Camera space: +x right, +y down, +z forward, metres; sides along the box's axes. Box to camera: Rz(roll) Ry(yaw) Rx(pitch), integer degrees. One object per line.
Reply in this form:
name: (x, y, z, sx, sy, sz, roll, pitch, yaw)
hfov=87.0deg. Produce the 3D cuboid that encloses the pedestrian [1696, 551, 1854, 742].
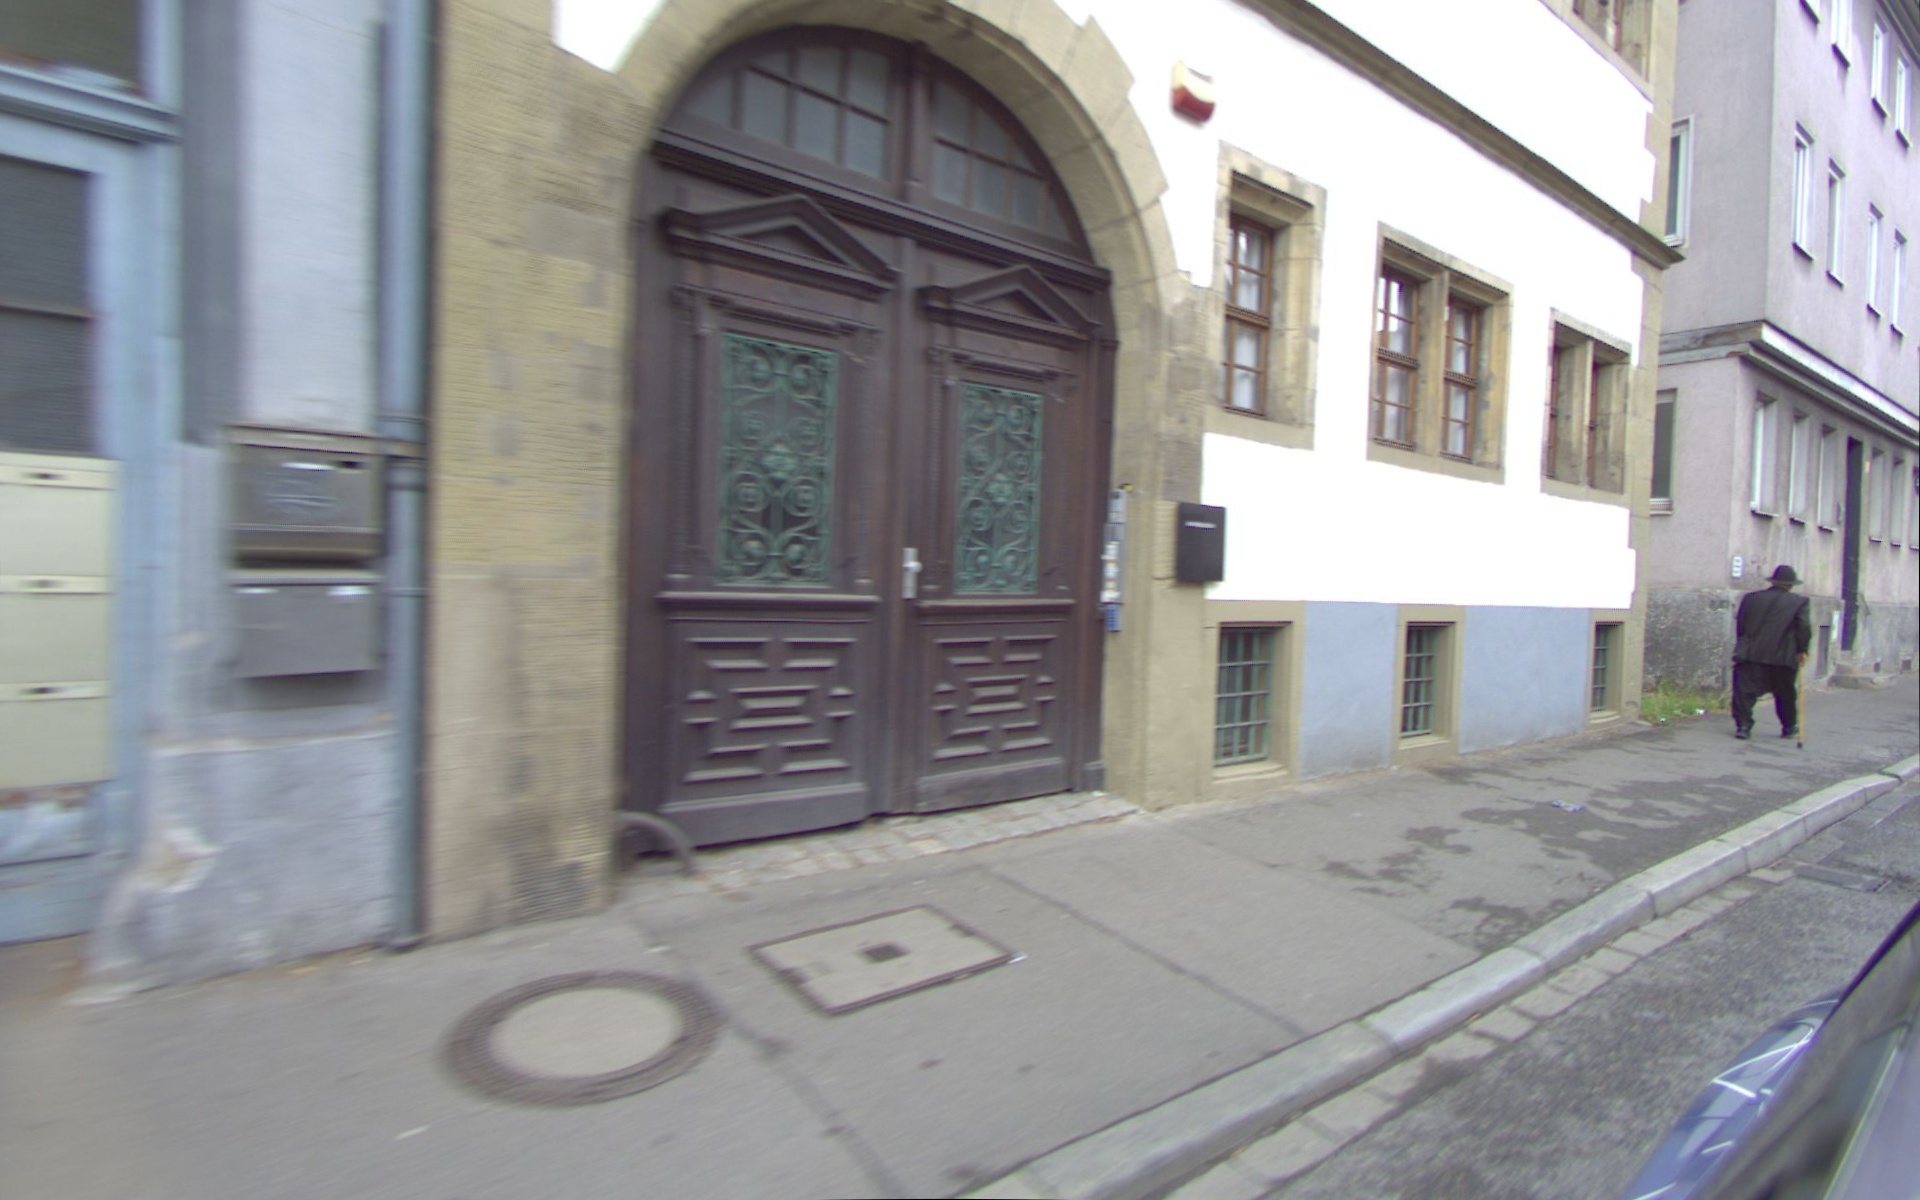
pedestrian: (7.838, 0.403, 9.746, 0.927, 1.675, 0.835, 0, 6, -37)
